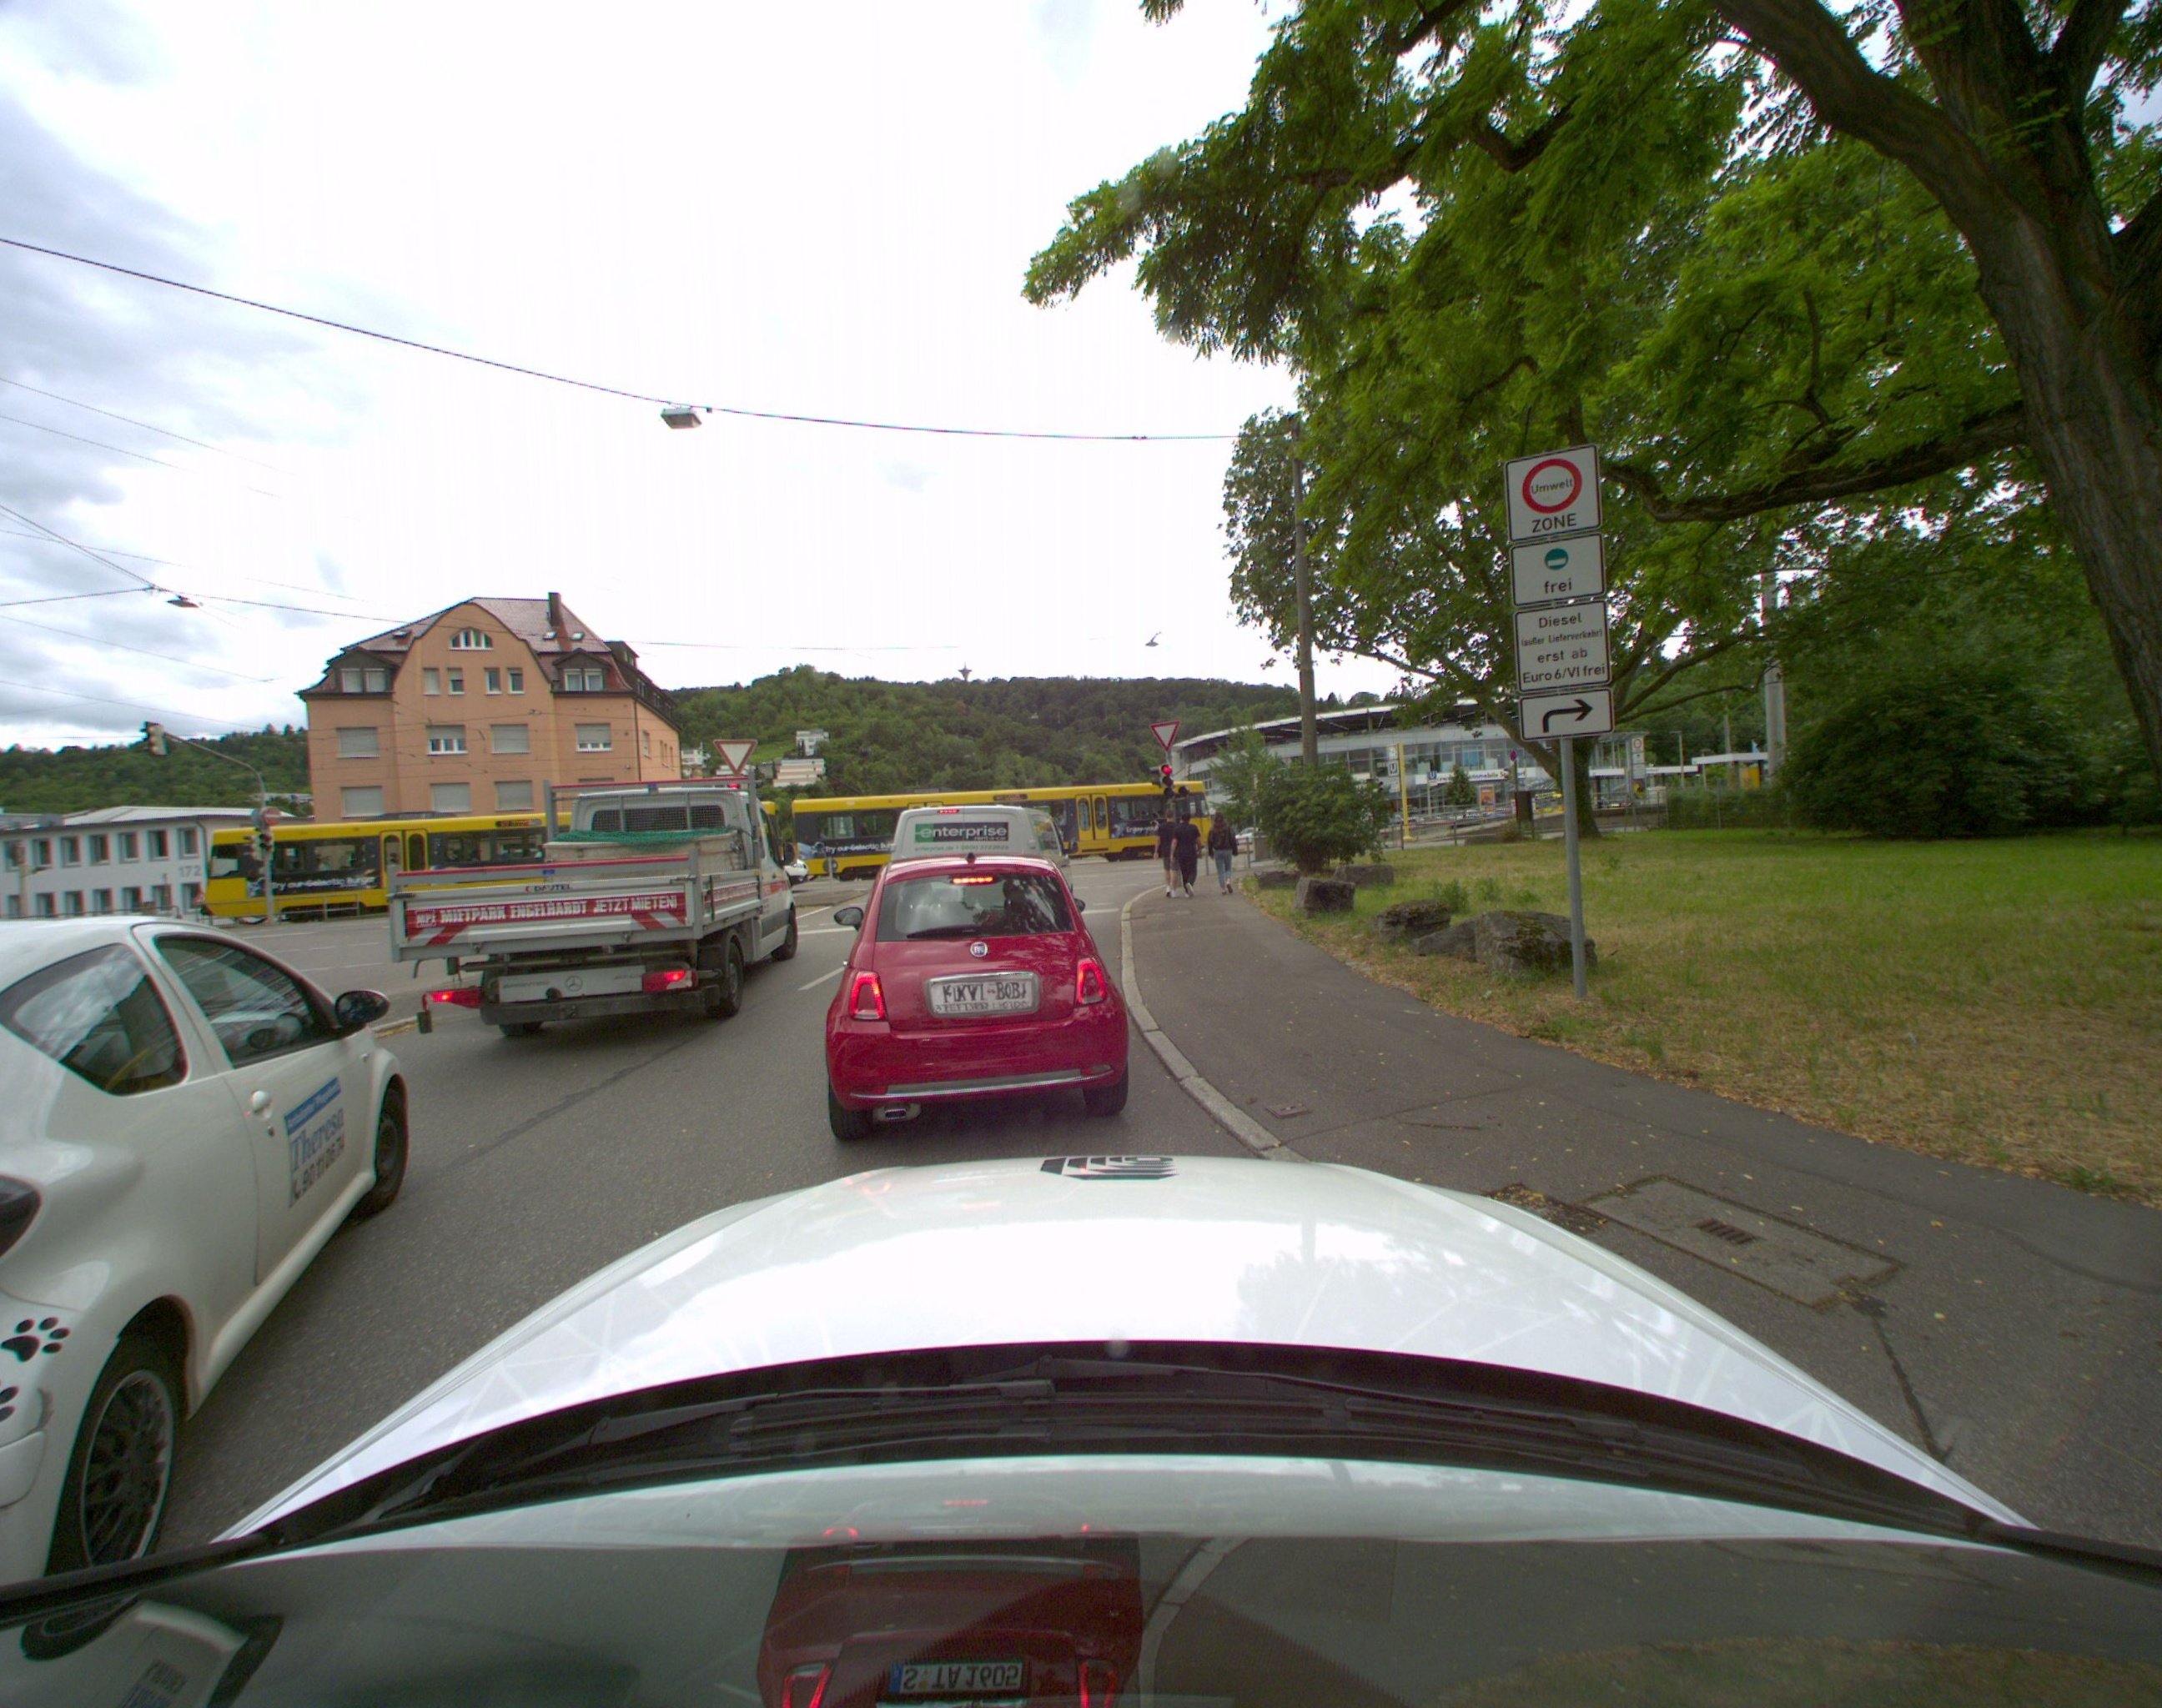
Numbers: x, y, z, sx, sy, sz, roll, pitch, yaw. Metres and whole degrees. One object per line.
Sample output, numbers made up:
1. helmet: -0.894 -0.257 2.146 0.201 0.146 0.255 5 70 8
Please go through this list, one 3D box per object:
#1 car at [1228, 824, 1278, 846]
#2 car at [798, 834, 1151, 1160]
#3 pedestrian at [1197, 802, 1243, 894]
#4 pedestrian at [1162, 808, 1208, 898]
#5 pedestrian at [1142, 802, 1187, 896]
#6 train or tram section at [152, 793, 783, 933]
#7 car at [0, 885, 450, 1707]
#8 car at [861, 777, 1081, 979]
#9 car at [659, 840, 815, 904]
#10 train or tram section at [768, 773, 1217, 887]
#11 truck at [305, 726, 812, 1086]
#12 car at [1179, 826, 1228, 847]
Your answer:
1. car: 14.071 -1.531 66.704 1.781 1.500 3.984 -4 1 -29
2. car: -0.750 0.660 5.664 1.638 1.456 3.420 -3 1 -9
3. pedestrian: 2.762 -0.134 16.127 0.687 1.739 0.792 -4 1 17
4. pedestrian: 2.086 -0.034 16.204 0.688 1.714 0.792 -4 1 15
5. pedestrian: 1.736 -0.106 16.828 0.688 1.857 0.791 -4 1 14
6. train or tram section: -21.767 0.115 30.925 19.139 3.665 3.262 -4 1 -14
7. car: -3.309 0.904 2.456 1.649 1.432 3.398 -5 1 -30
8. car: -1.230 0.219 11.439 1.981 2.106 4.767 -4 1 4
9. car: -10.362 0.494 24.874 4.123 1.584 1.793 -4 1 -17
10. train or tram section: -3.426 -1.224 36.135 19.165 3.665 3.258 -4 1 -18
11. truck: -4.681 0.315 8.854 2.423 2.397 6.006 -4 1 -11
12. car: 9.784 -1.388 65.117 1.782 1.500 3.843 -4 1 -31
